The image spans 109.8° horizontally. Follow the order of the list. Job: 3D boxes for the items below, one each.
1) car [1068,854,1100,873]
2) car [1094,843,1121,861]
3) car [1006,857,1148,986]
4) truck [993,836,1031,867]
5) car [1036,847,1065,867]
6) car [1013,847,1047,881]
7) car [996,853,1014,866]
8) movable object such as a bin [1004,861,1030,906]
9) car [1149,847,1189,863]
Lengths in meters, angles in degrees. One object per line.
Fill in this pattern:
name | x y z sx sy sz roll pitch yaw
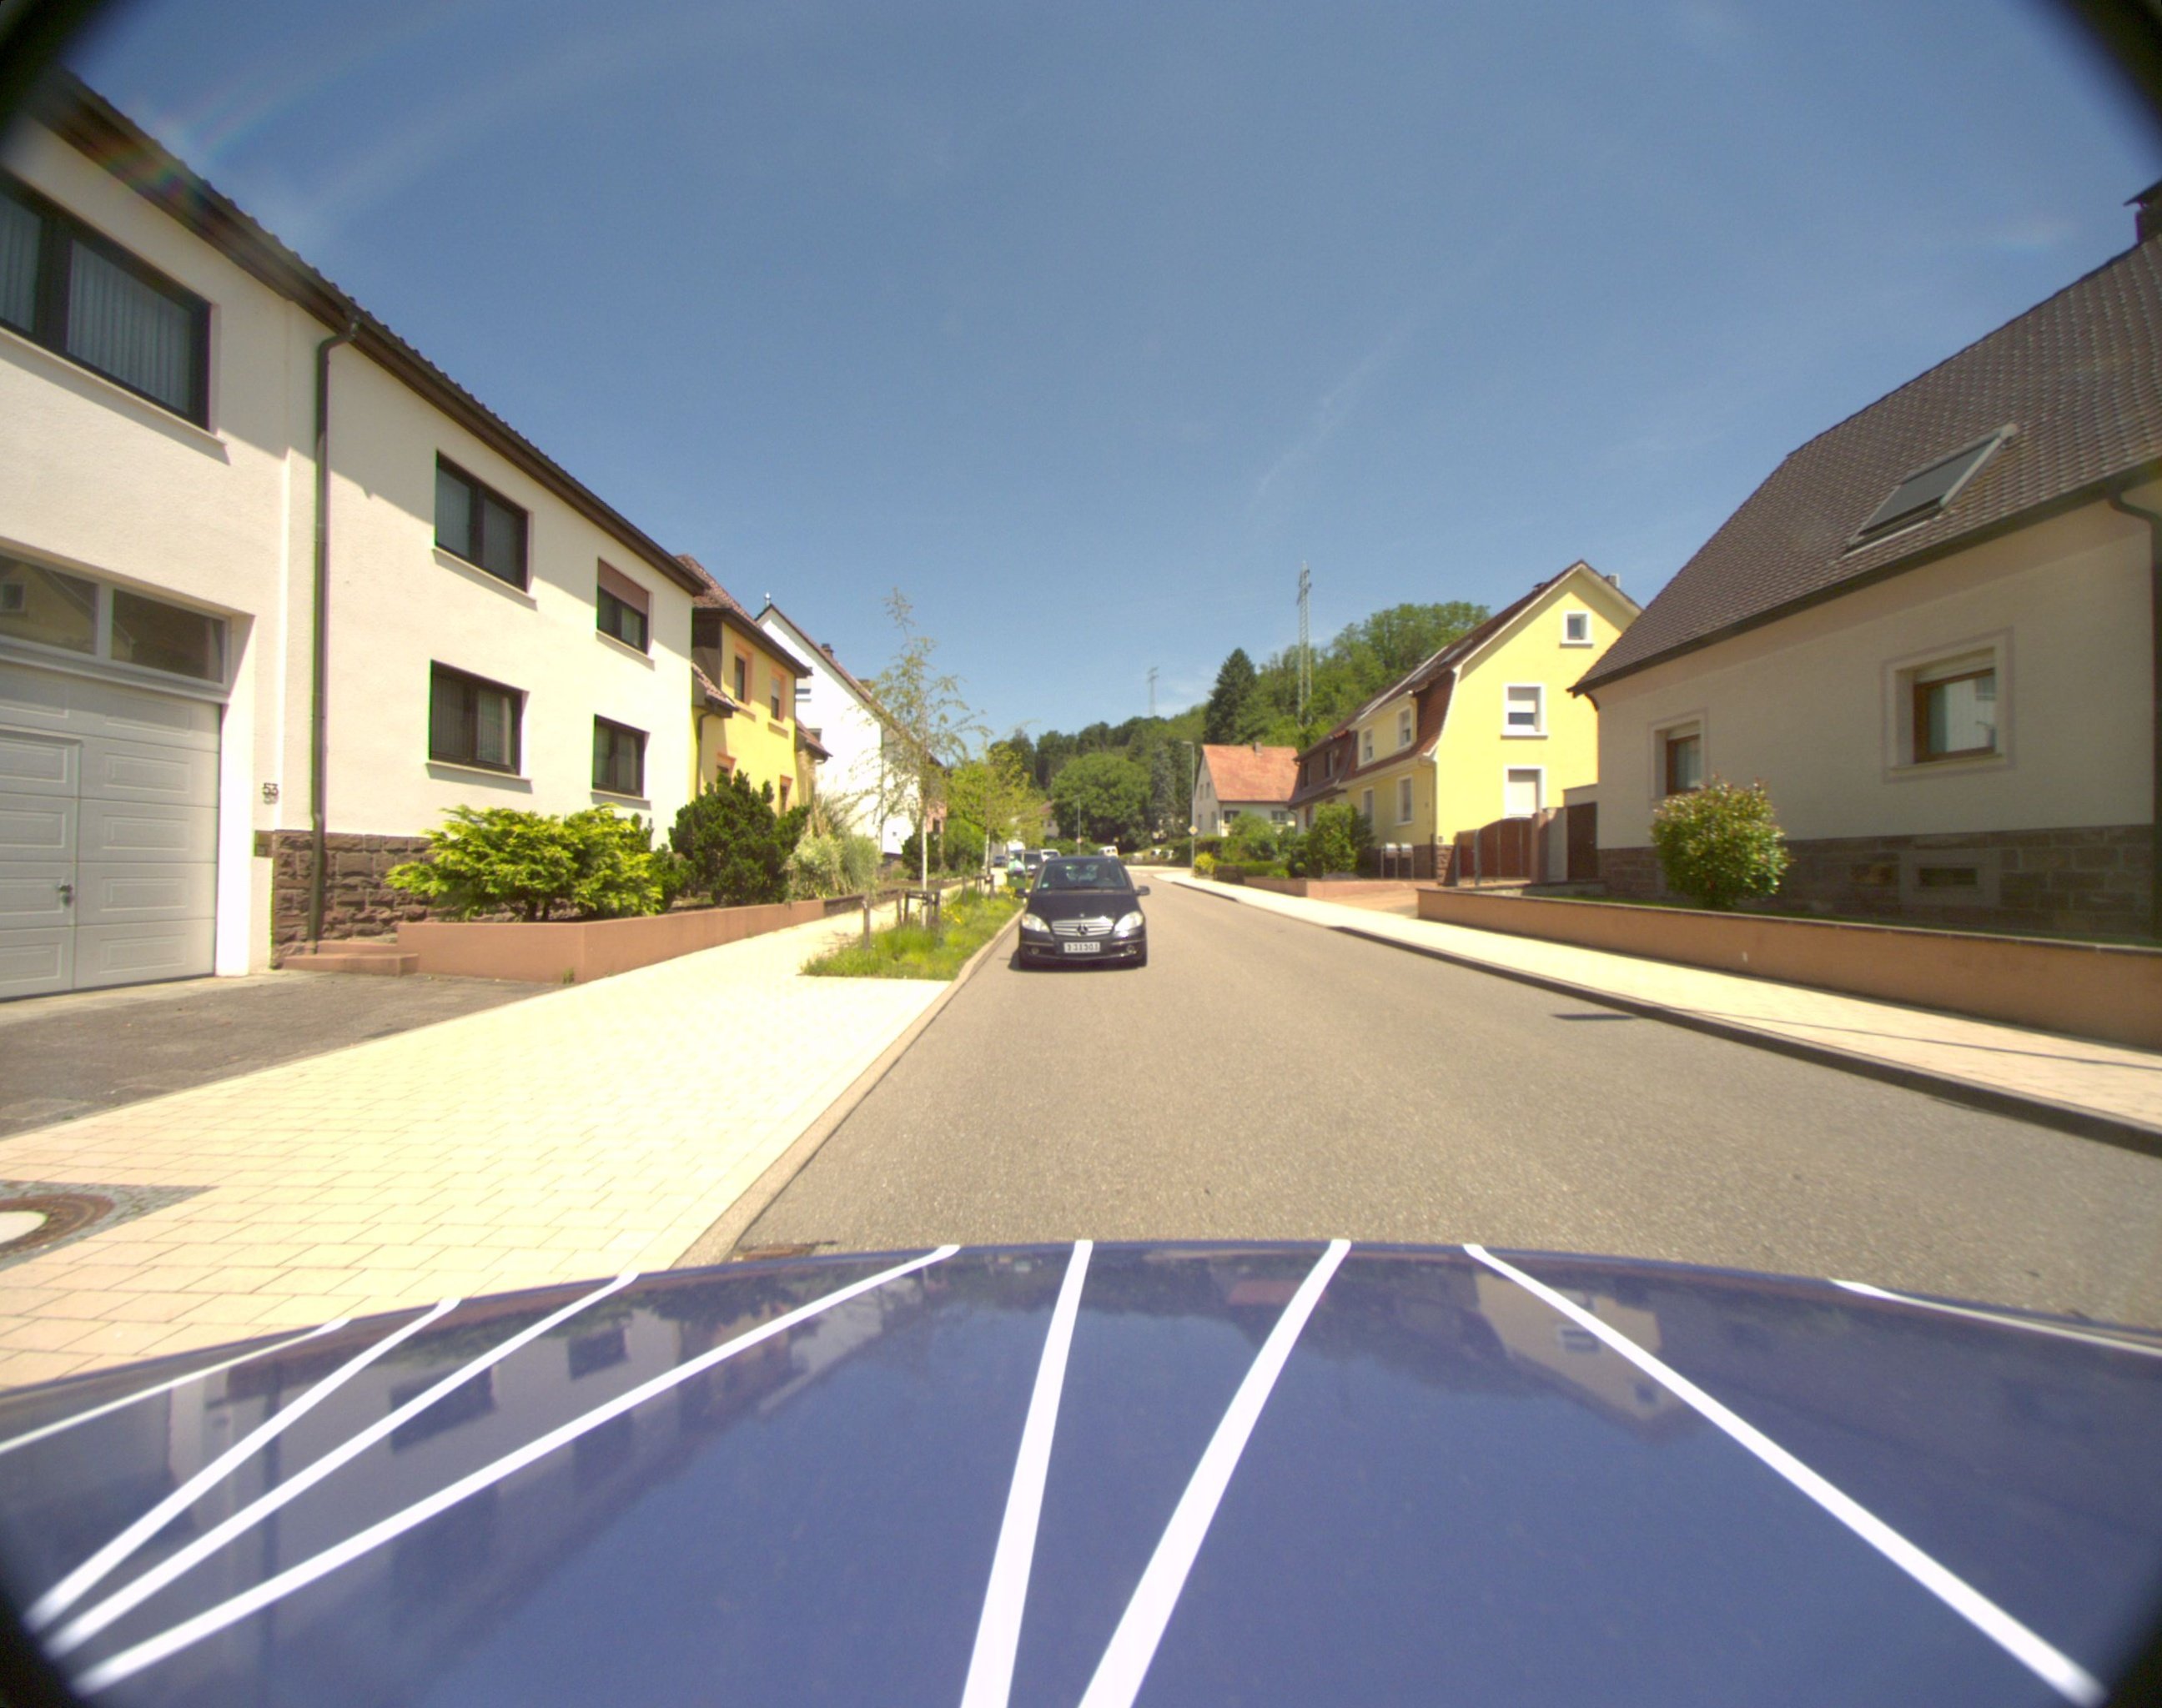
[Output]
car | 0.172 0.662 54.829 1.911 1.342 3.998 0 0 -5
car | 3.018 -0.237 86.933 1.706 1.937 3.993 -1 1 -18
car | 0.011 0.879 11.890 1.790 1.595 4.075 -2 0 2
truck | -8.350 -0.281 91.476 2.809 3.394 8.107 -2 0 -17
car | -2.898 0.294 71.434 1.970 1.823 4.460 1 0 -11
car | -3.003 0.544 45.168 1.860 1.832 4.669 2 0 -3
car | -8.009 0.551 80.179 1.676 1.368 3.997 1 0 -8
movable object such as a bin | -2.043 0.943 24.377 0.794 1.387 0.925 -1 1 -3
car | 9.720 0.097 84.296 4.004 1.779 1.807 -1 1 -23
